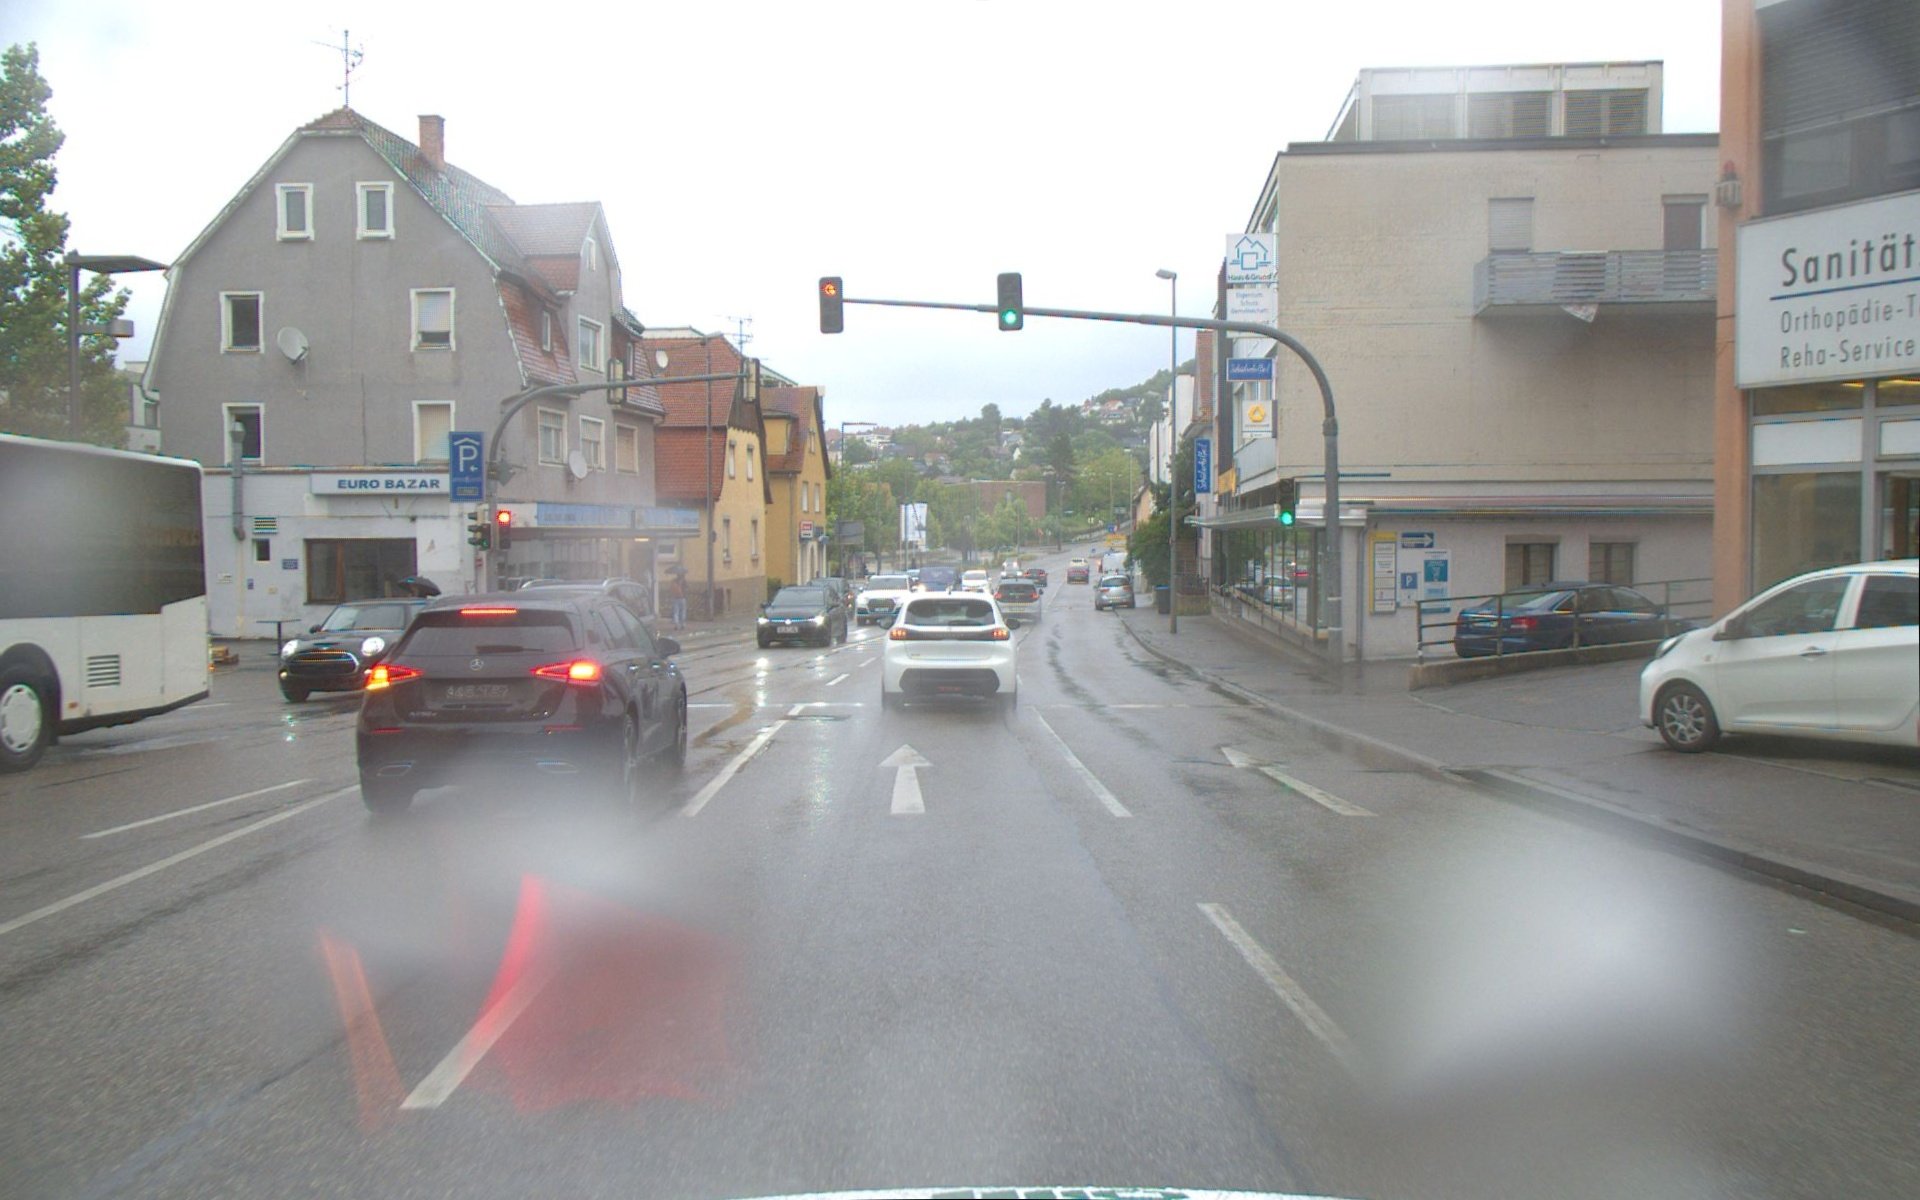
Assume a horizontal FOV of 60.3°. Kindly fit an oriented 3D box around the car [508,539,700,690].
[{"bbox_3d":[-5.245,0.191,24.937,1.599,2.049,4.287,-1,0,5],"label":"car"}]

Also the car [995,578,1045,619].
[{"bbox_3d":[2.119,-0.075,58.665,1.705,1.318,3.335,-1,1,1],"label":"car"}]

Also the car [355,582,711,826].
[{"bbox_3d":[-2.964,0.634,12.370,1.681,1.475,4.196,-1,0,-2],"label":"car"}]

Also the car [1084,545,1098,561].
[{"bbox_3d":[18.321,-6.605,231.763,1.951,2.049,4.002,-1,0,4],"label":"car"}]

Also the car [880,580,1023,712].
[{"bbox_3d":[-0.025,0.543,21.493,1.655,1.545,3.934,-1,0,2],"label":"car"}]

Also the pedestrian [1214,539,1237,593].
[{"bbox_3d":[9.109,-1.164,56.690,0.713,1.811,0.954,0,2,12],"label":"pedestrian"}]

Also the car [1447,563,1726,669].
[{"bbox_3d":[9.903,0.198,26.066,4.337,1.435,1.720,-2,2,-29],"label":"car"}]

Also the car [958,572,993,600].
[{"bbox_3d":[0.979,-0.845,101.199,1.839,1.637,4.721,-1,0,4],"label":"car"}]

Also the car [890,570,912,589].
[{"bbox_3d":[-4.291,-1.454,119.871,1.342,1.336,3.042,-1,0,2],"label":"car"}]

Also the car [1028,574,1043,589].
[{"bbox_3d":[5.871,-1.417,128.671,1.187,1.176,2.271,-1,0,2],"label":"car"}]

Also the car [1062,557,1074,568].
[{"bbox_3d":[12.355,-4.264,188.973,1.356,1.146,2.611,-1,0,4],"label":"car"}]

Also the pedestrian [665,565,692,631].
[{"bbox_3d":[-8.528,-0.072,50.154,0.648,1.954,0.946,1,0,-4],"label":"pedestrian"}]

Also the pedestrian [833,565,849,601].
[{"bbox_3d":[-6.136,-0.872,85.516,0.785,1.819,0.881,-1,0,-3],"label":"pedestrian"}]

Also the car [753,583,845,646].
[{"bbox_3d":[-3.988,0.337,41.529,1.722,1.459,4.382,-1,0,2],"label":"car"}]

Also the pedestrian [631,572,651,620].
[{"bbox_3d":[-10.486,-0.135,54.388,0.531,1.584,0.446,-1,0,4],"label":"pedestrian"}]

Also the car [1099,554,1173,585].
[{"bbox_3d":[14.118,-2.438,132.436,6.576,2.423,2.261,-1,0,-45],"label":"car"}]

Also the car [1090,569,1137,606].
[{"bbox_3d":[7.282,-0.567,78.639,1.969,1.650,4.361,0,-1,2],"label":"car"}]

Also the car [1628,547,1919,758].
[{"bbox_3d":[7.101,0.359,12.838,1.590,1.487,3.397,-1,0,-25],"label":"car"}]

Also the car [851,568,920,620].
[{"bbox_3d":[-2.618,-0.214,58.956,2.055,1.742,4.851,-1,0,2],"label":"car"}]

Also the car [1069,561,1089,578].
[{"bbox_3d":[10.334,-2.629,143.544,1.697,1.412,3.354,1,1,3],"label":"car"}]

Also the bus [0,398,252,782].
[{"bbox_3d":[-9.414,-0.048,11.790,2.831,3.153,12.005,-1,0,4],"label":"bus"}]

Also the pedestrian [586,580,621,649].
[{"bbox_3d":[-7.450,0.293,34.599,0.567,1.419,0.561,-1,0,1],"label":"pedestrian"}]

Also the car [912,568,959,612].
[{"bbox_3d":[-1.104,-0.487,78.009,1.925,1.972,5.181,-1,0,2],"label":"car"}]

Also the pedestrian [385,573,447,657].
[{"bbox_3d":[-12.107,0.331,36.842,0.906,1.820,1.234,-1,0,2],"label":"pedestrian"}]

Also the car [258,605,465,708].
[{"bbox_3d":[-8.862,0.796,24.790,1.606,1.361,3.603,-1,0,3],"label":"car"}]

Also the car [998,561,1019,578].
[{"bbox_3d":[4.474,-2.791,150.917,1.731,1.438,4.528,-1,0,4],"label":"car"}]

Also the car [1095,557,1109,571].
[{"bbox_3d":[16.295,-4.114,189.969,1.613,1.511,3.368,-1,0,4],"label":"car"}]
